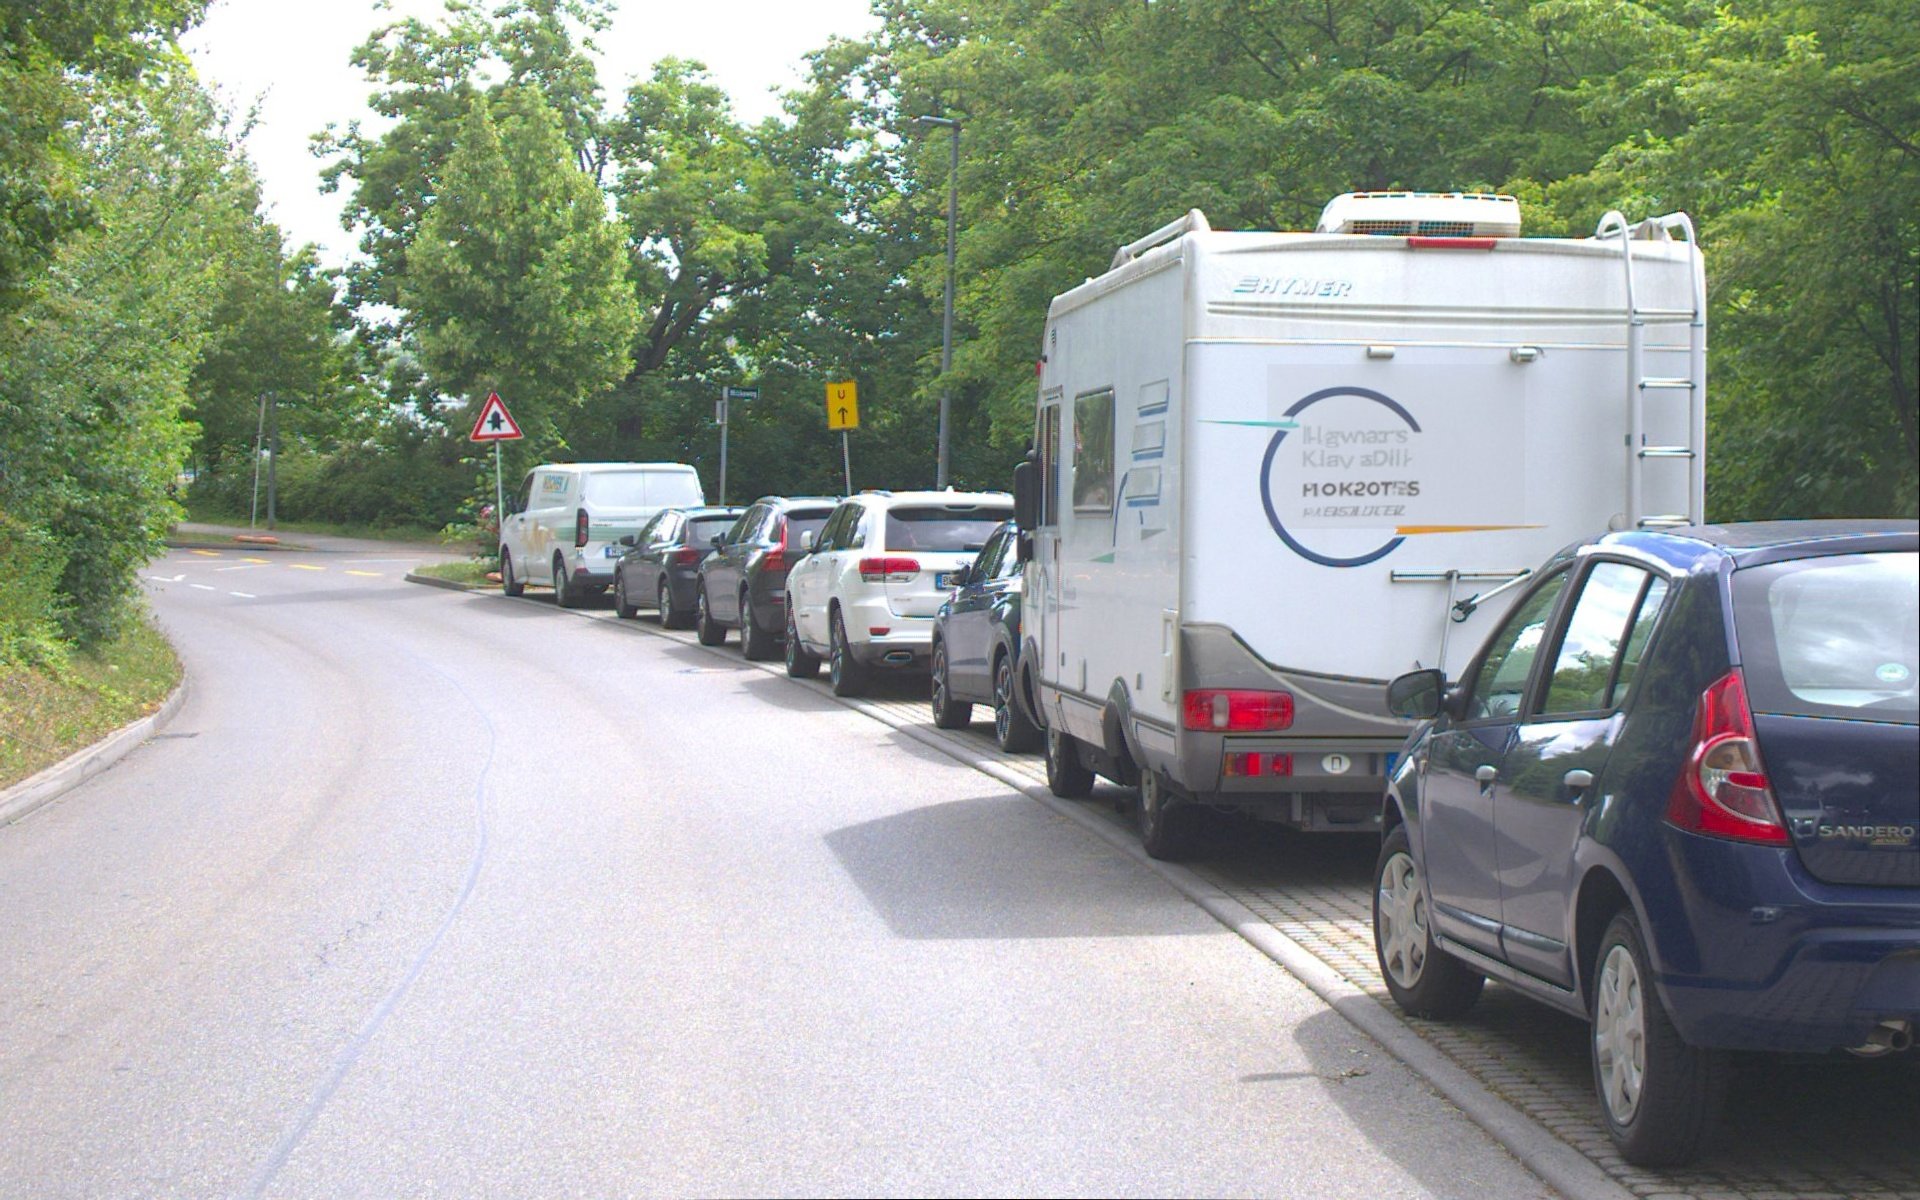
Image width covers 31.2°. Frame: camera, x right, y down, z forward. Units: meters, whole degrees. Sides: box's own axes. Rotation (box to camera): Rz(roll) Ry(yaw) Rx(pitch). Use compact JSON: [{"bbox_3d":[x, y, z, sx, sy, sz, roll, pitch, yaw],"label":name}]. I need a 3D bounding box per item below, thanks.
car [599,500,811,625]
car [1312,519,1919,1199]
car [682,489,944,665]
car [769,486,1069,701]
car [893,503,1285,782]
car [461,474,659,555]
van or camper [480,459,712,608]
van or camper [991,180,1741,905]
[{"bbox_3d":[-3.222,-0.498,42.707,1.797,1.459,4.002,0,2,-17],"label":"car"},{"bbox_3d":[2.198,0.575,9.354,1.728,1.514,3.890,0,0,-6],"label":"car"},{"bbox_3d":[-1.620,-0.299,36.190,1.993,1.620,4.280,-2,3,-12],"label":"car"},{"bbox_3d":[-0.454,-0.121,30.234,1.871,1.683,4.581,1,2,-10],"label":"car"},{"bbox_3d":[0.773,0.222,23.358,1.710,1.586,4.001,5,0,-10],"label":"car"},{"bbox_3d":[-7.744,-1.659,66.446,3.535,1.475,1.783,0,4,-17],"label":"car"},{"bbox_3d":[-5.173,-0.997,48.173,1.993,1.913,5.268,-1,3,-20],"label":"van or camper"},{"bbox_3d":[1.672,-0.293,16.914,2.332,2.859,6.152,1,1,-6],"label":"van or camper"}]
